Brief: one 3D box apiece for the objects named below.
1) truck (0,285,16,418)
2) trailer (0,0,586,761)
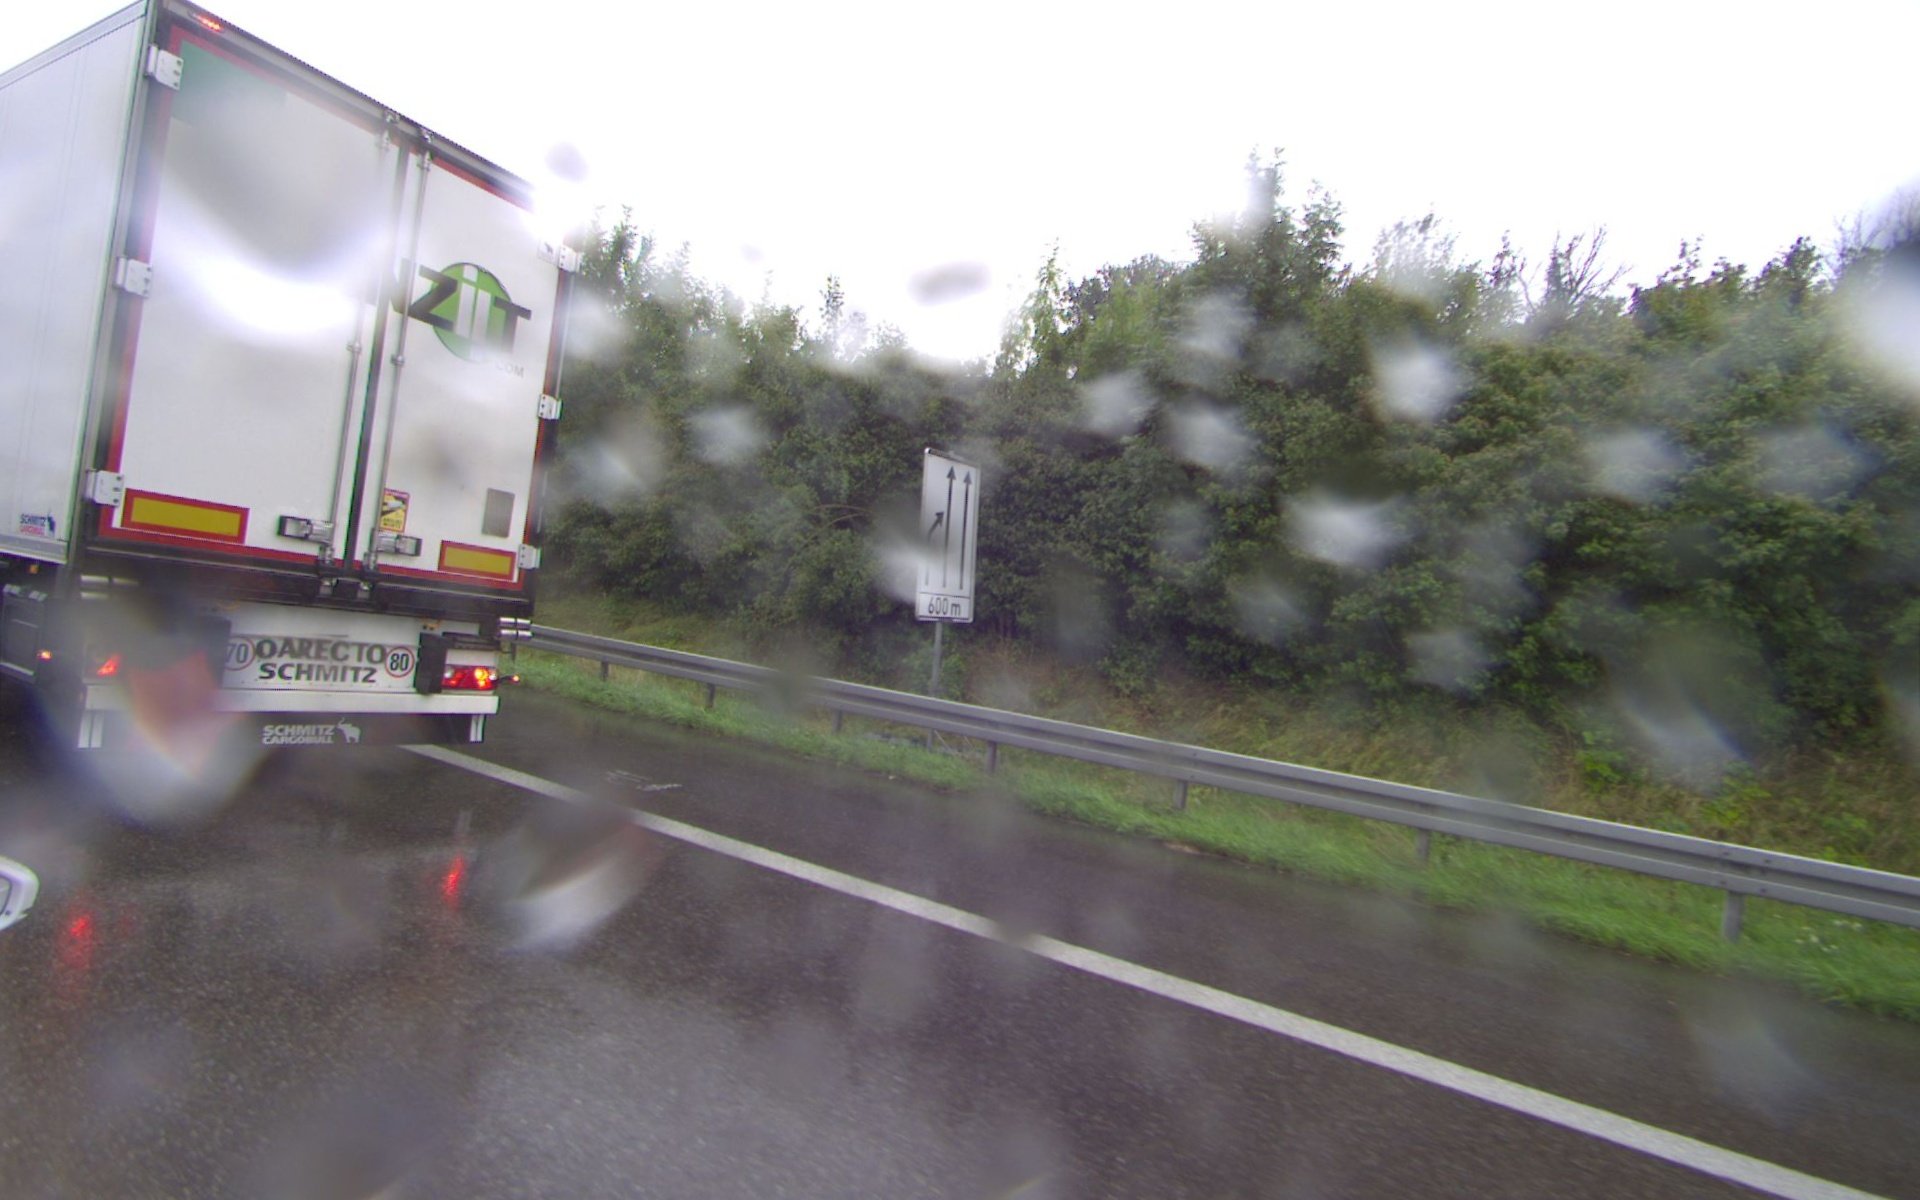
[{"bbox_3d":[-15.147,-2.470,13.179,4.712,3.873,2.634,7,0,32],"label":"truck"},{"bbox_3d":[-9.590,-1.884,9.700,14.387,4.061,2.634,7,0,32],"label":"trailer"}]
